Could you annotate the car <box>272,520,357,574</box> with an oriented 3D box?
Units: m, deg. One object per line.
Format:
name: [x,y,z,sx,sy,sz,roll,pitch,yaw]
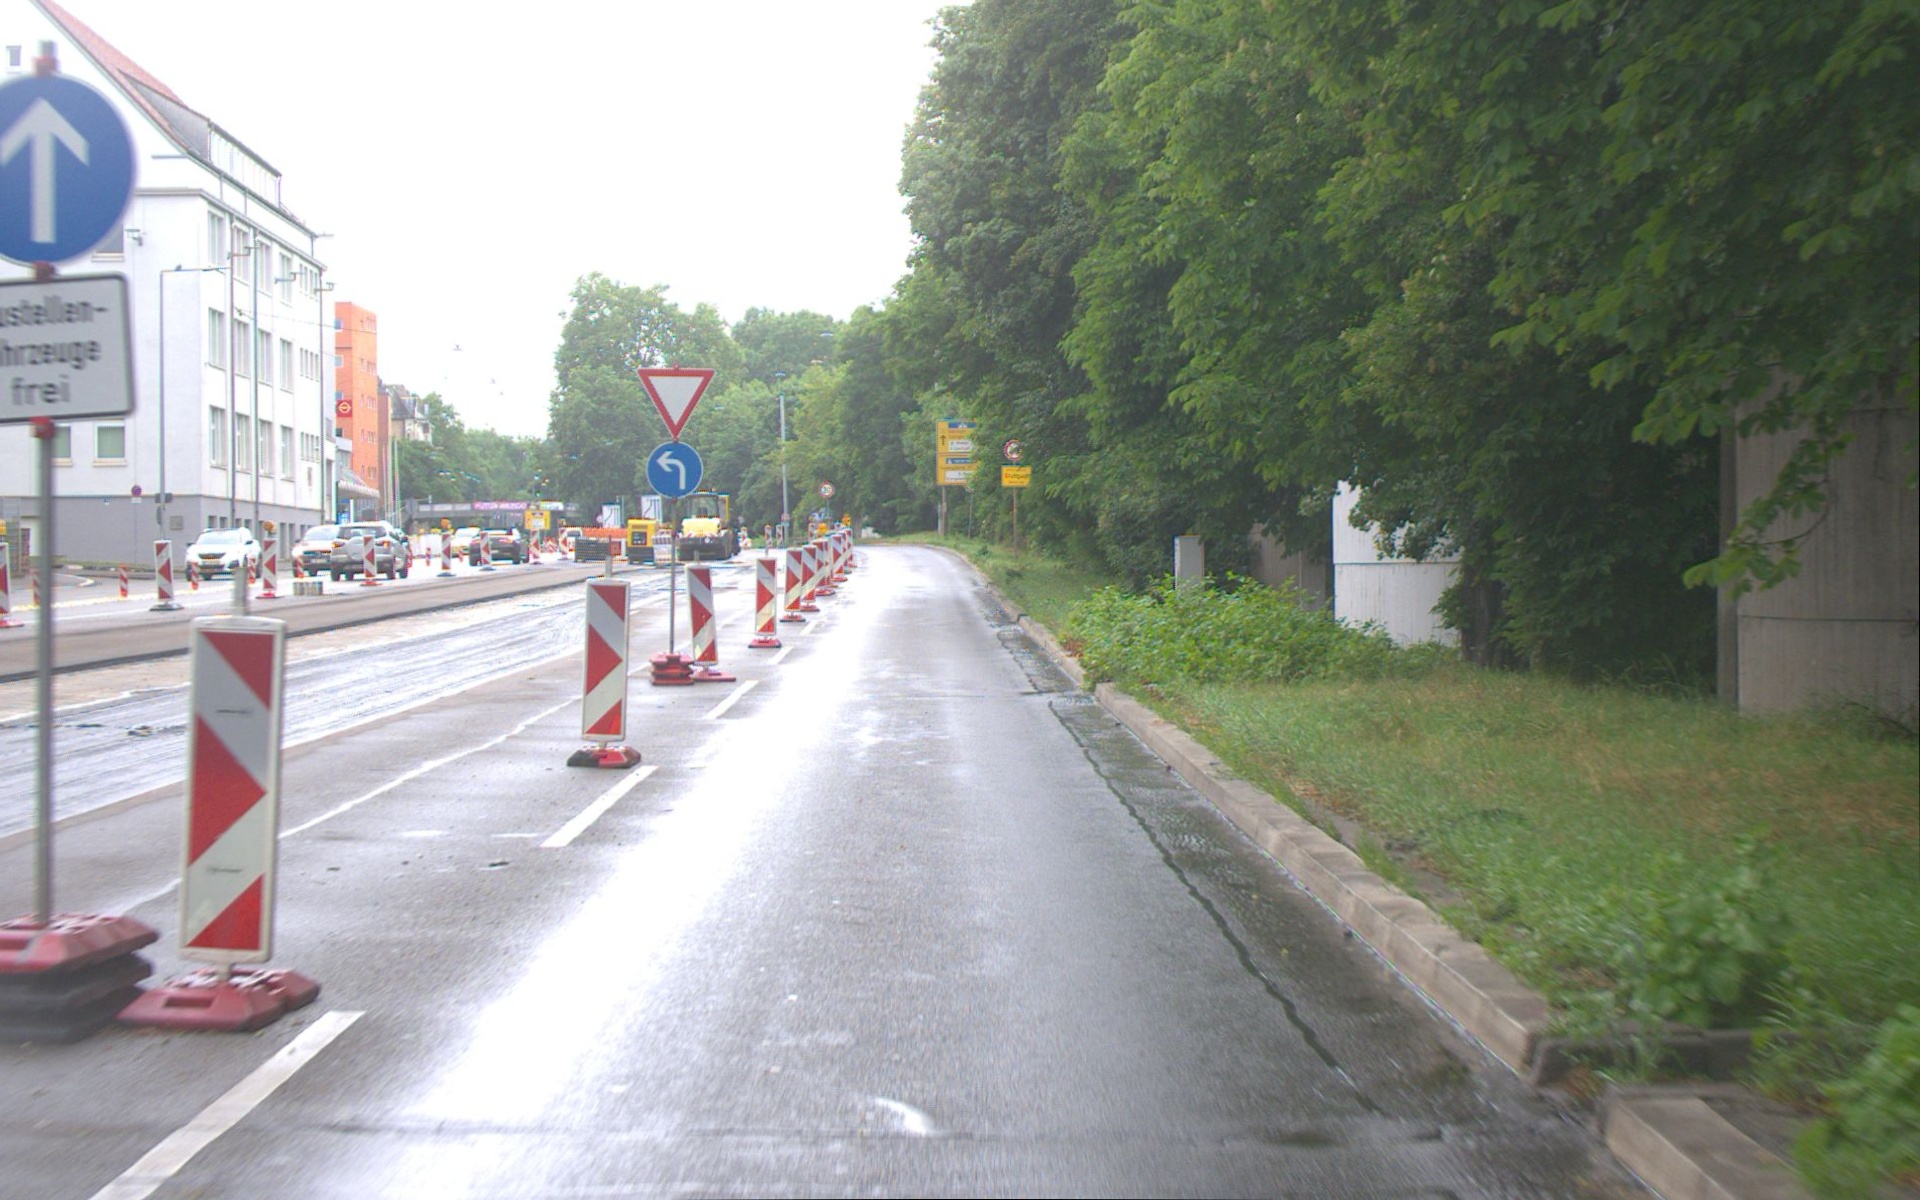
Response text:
car: [-20.548,-1.702,109.588,1.859,1.613,4.365,-2,1,0]

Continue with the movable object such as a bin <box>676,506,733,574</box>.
movable object such as a bin: [-10.086,-2.388,136.116,1.902,2.600,5.383,-1,1,-1]

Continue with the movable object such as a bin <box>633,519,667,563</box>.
movable object such as a bin: [-11.500,-2.195,127.632,1.083,1.639,2.439,0,1,-2]

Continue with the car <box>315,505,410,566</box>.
car: [-16.595,-1.786,95.686,1.893,1.644,4.396,0,1,0]

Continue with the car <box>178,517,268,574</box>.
car: [-23.134,-1.721,108.065,1.859,1.700,4.365,-2,1,0]

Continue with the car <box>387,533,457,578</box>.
car: [-19.045,-1.592,121.828,1.859,1.470,3.732,-2,1,0]
